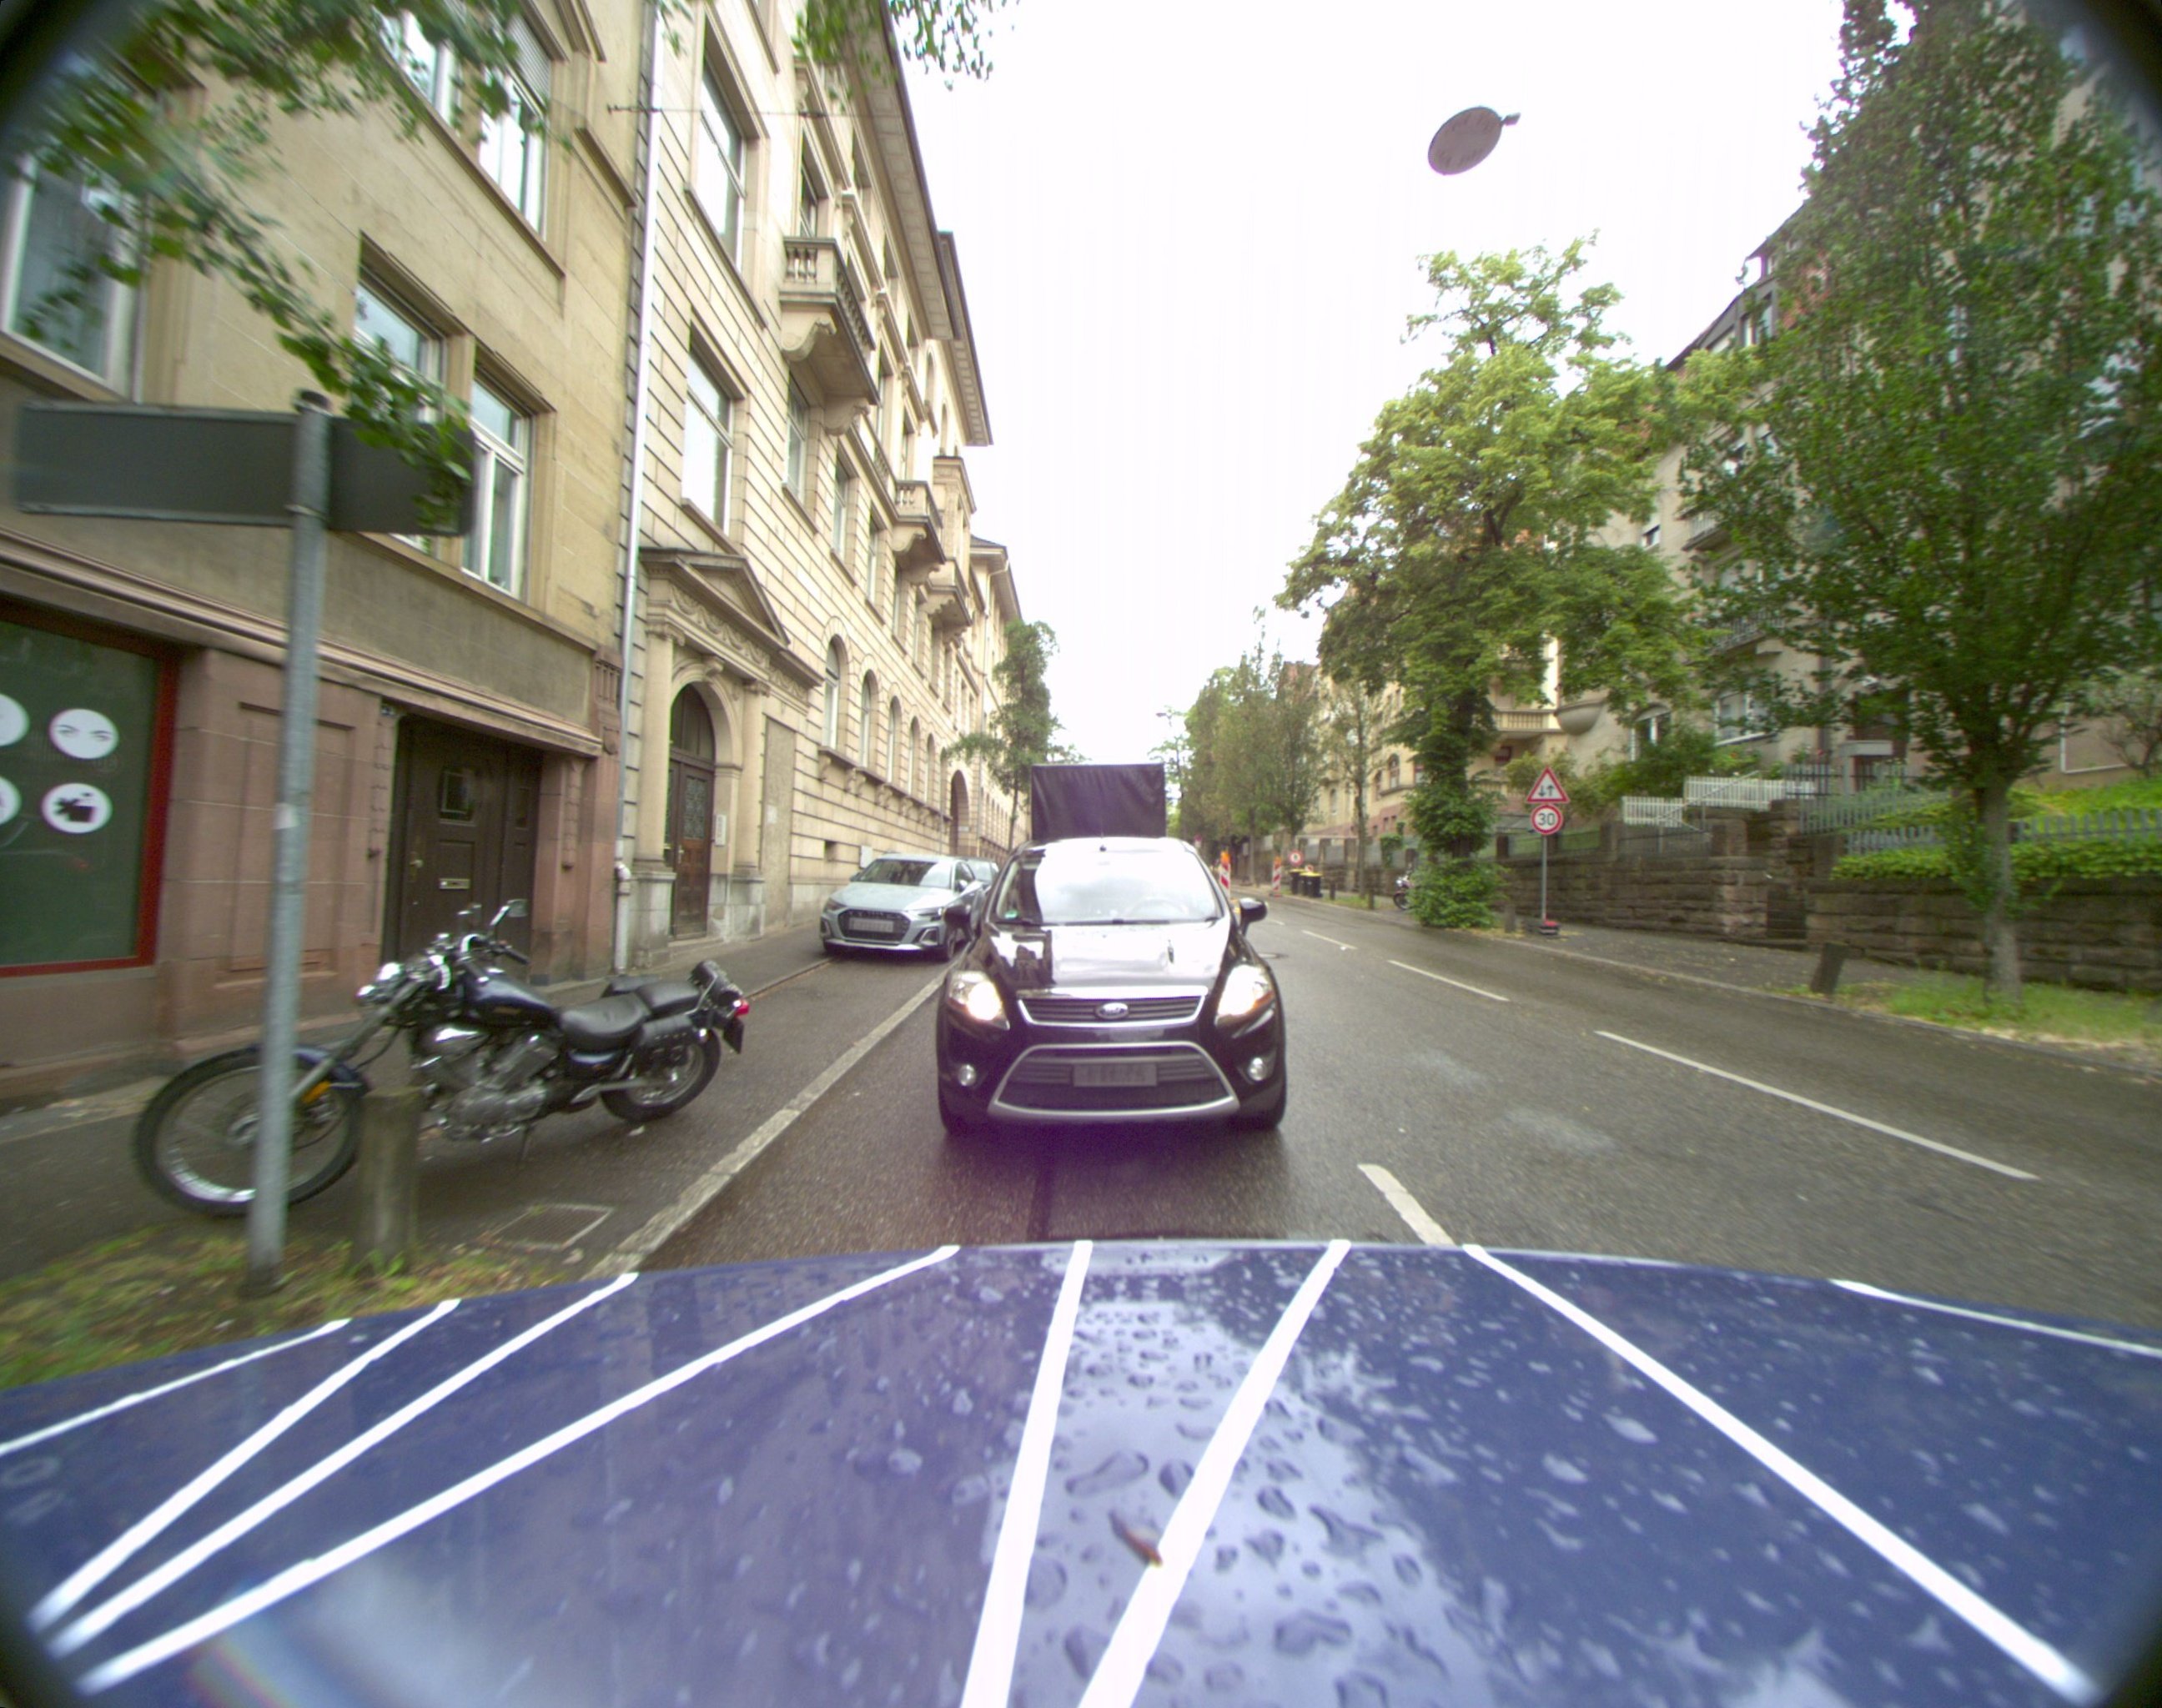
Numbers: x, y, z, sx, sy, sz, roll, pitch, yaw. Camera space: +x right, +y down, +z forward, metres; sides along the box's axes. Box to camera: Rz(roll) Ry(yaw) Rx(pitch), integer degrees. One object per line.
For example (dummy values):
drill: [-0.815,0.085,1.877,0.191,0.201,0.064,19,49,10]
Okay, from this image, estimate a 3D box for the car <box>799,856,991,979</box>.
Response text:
car: [-2.599,0.806,11.645,1.794,1.444,4.039,3,0,1]

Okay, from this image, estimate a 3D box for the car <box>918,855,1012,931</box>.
car: [-2.521,0.801,17.136,1.495,1.440,3.181,3,0,1]

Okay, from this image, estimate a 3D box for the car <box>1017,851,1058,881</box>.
car: [-2.395,0.642,43.065,1.910,1.503,4.318,3,0,1]

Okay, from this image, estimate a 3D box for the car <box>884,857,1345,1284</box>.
car: [0.188,0.870,5.281,1.823,1.662,4.522,0,0,1]

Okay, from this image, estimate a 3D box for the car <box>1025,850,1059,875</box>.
car: [-2.581,0.522,51.300,1.910,1.503,4.318,3,0,1]

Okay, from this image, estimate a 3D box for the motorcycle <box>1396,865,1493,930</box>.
motorcycle: [8.898,1.017,18.808,0.802,1.406,3.061,-2,0,-2]

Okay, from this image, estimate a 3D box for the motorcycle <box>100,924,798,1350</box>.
motorcycle: [-2.507,0.980,3.425,0.523,1.236,2.282,4,0,39]

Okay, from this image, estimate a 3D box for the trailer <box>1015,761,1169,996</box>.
trailer: [0.131,0.258,11.314,1.783,2.744,4.816,0,1,0]
